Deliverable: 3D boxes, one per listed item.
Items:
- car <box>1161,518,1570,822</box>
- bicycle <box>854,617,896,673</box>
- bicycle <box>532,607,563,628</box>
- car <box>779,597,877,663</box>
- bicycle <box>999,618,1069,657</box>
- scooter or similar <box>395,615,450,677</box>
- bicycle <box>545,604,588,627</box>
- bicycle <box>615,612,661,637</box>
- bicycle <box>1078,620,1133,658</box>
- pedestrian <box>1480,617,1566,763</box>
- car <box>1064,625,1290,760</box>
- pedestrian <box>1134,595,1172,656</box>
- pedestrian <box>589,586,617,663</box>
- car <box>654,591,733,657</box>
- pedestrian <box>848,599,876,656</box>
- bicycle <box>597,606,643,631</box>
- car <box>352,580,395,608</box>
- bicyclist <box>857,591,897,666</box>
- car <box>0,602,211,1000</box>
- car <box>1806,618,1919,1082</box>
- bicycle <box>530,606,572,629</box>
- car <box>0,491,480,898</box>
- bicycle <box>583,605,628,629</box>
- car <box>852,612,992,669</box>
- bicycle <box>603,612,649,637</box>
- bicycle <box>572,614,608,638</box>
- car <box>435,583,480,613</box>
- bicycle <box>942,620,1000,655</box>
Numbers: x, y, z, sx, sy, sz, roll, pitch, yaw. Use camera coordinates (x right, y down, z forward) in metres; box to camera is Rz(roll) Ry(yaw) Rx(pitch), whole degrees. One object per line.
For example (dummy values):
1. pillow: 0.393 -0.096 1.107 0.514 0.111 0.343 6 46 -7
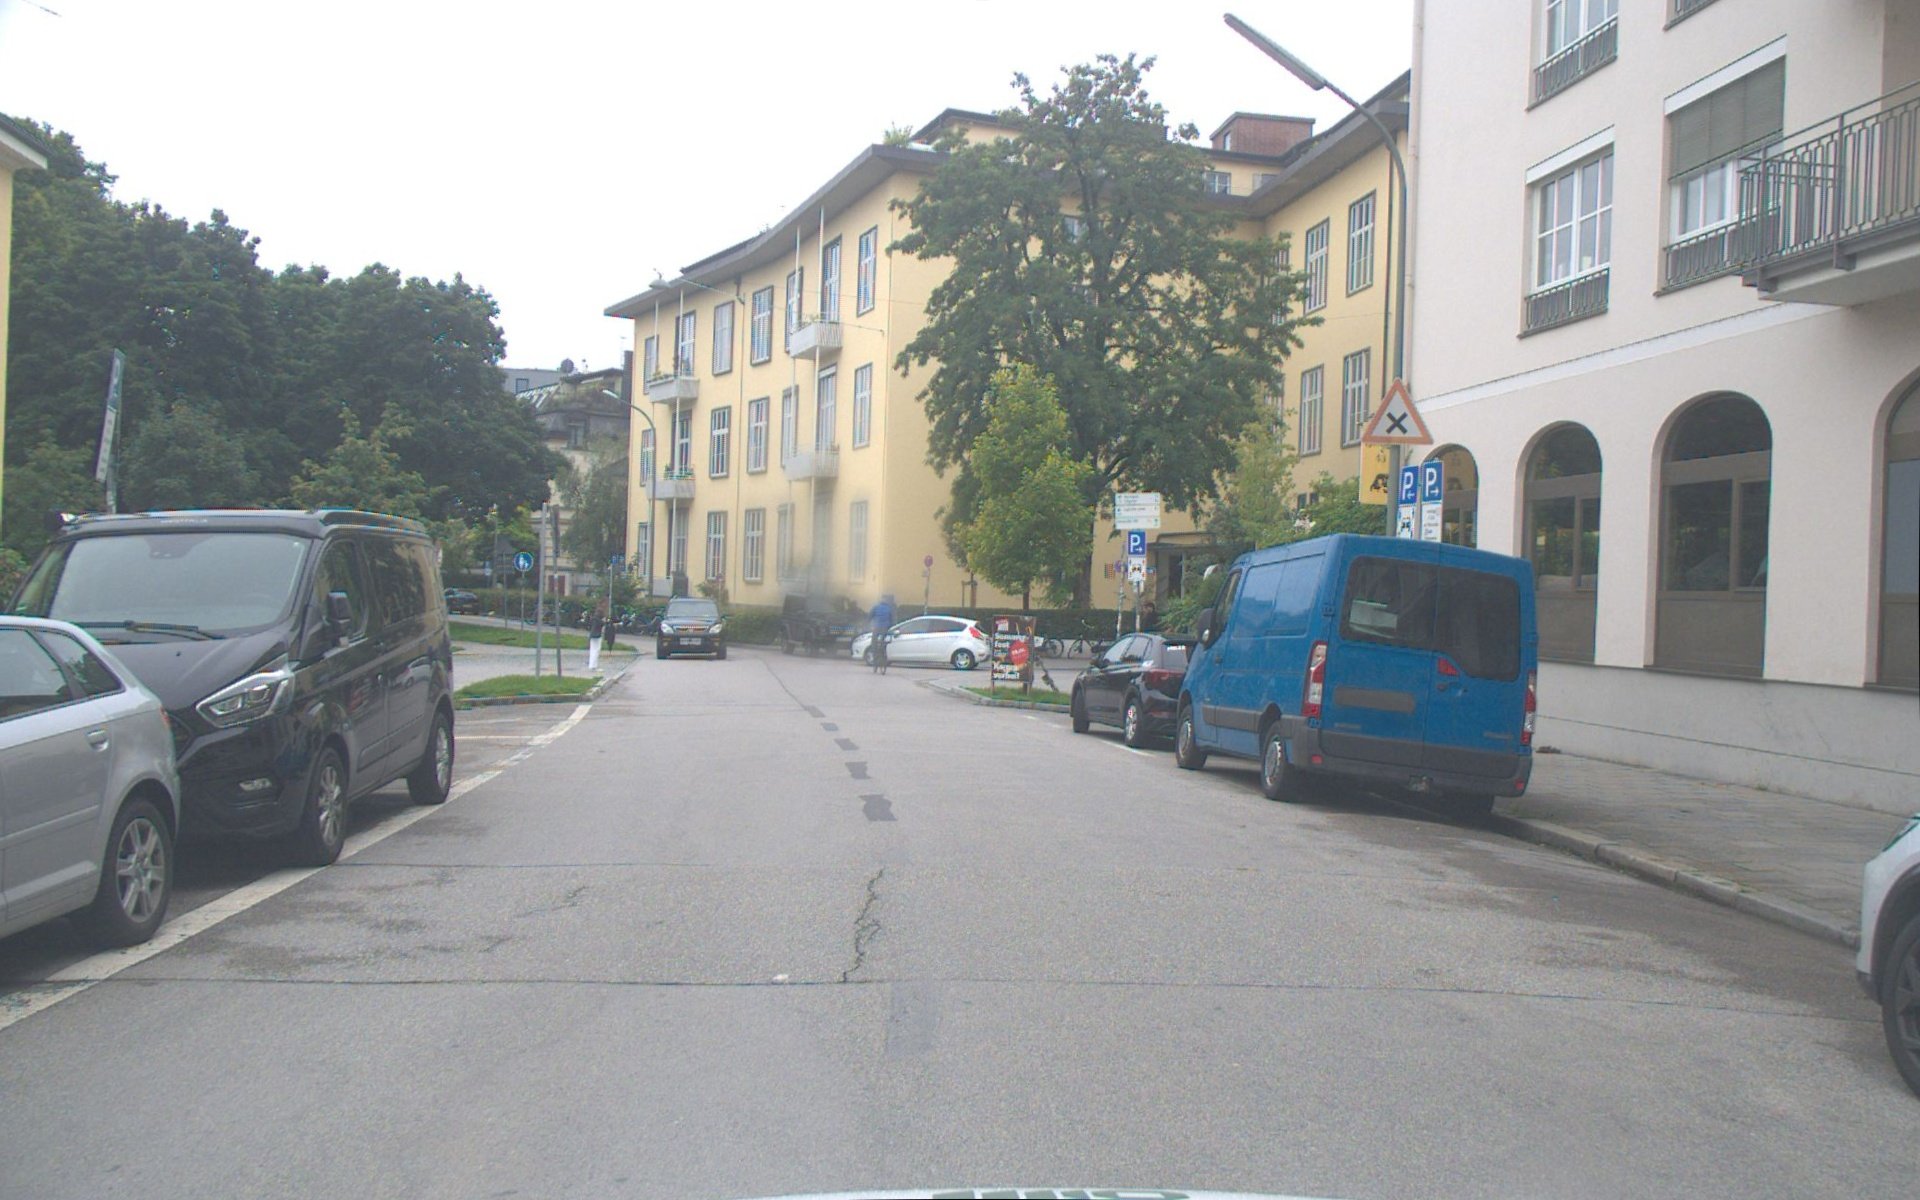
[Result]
1. car: 3.615 0.651 15.912 2.069 2.252 5.021 6 -2 -6
2. bicycle: -2.069 1.080 40.478 0.902 1.274 2.321 1 0 0
3. bicycle: -20.249 0.859 81.153 0.402 1.032 1.529 1 1 41
4. car: -4.253 0.919 52.571 1.847 1.920 4.589 1 0 -21
5. bicycle: 2.338 1.181 52.322 2.121 1.135 0.641 2 0 8
6. scooter or similar: -10.913 0.939 33.609 0.429 1.234 1.052 1 -2 23
7. bicycle: -18.928 0.753 79.621 0.608 1.047 1.964 1 -1 44
8. bicycle: -14.092 1.094 72.368 0.608 1.047 1.964 1 -1 44
9. bicycle: 4.596 1.232 52.172 1.651 1.150 0.459 1 0 -10
10. pedestrian: 6.436 1.015 18.940 0.698 1.633 0.699 0 0 -7
11. car: 2.743 1.153 21.835 1.684 1.419 3.989 5 -1 -11
12. pedestrian: 5.923 0.777 50.746 0.971 1.841 0.658 1 0 -9
13. pedestrian: -8.042 0.547 37.215 0.534 1.726 0.663 0 0 -20
14. car: -7.732 0.662 47.652 1.959 1.749 4.600 1 0 -13
15. pedestrian: -3.118 0.871 52.616 0.832 1.788 0.952 1 0 -7
16. bicycle: -15.170 0.835 73.810 0.608 1.047 1.964 1 -1 44
17. car: -38.894 -0.403 109.705 1.776 1.709 3.954 1 0 -33
18. bicyclist: -2.031 0.692 40.527 0.895 1.795 1.215 1 0 -1
19. car: -4.248 0.759 5.576 1.672 1.389 4.000 -3 1 -2
20. car: 4.301 0.960 4.137 1.742 1.549 4.299 6 0 -6
21. bicycle: -20.088 0.863 81.273 0.608 1.047 1.964 1 -1 44
22. car: -4.529 0.458 10.631 1.888 2.014 4.617 -1 1 -5
23. bicycle: -15.996 0.785 74.671 0.608 1.047 1.964 1 -1 44
24. car: -1.033 1.109 46.235 3.636 1.431 1.754 2 0 9
25. bicycle: -14.712 1.081 72.904 0.608 1.047 1.964 1 -1 44
26. bicycle: -17.033 1.209 76.167 0.521 1.047 1.977 1 -1 24
27. car: -28.447 -0.115 93.521 1.630 1.585 3.523 1 0 -30
28. bicycle: 0.337 1.211 53.283 1.910 1.104 0.527 -1 -2 35
